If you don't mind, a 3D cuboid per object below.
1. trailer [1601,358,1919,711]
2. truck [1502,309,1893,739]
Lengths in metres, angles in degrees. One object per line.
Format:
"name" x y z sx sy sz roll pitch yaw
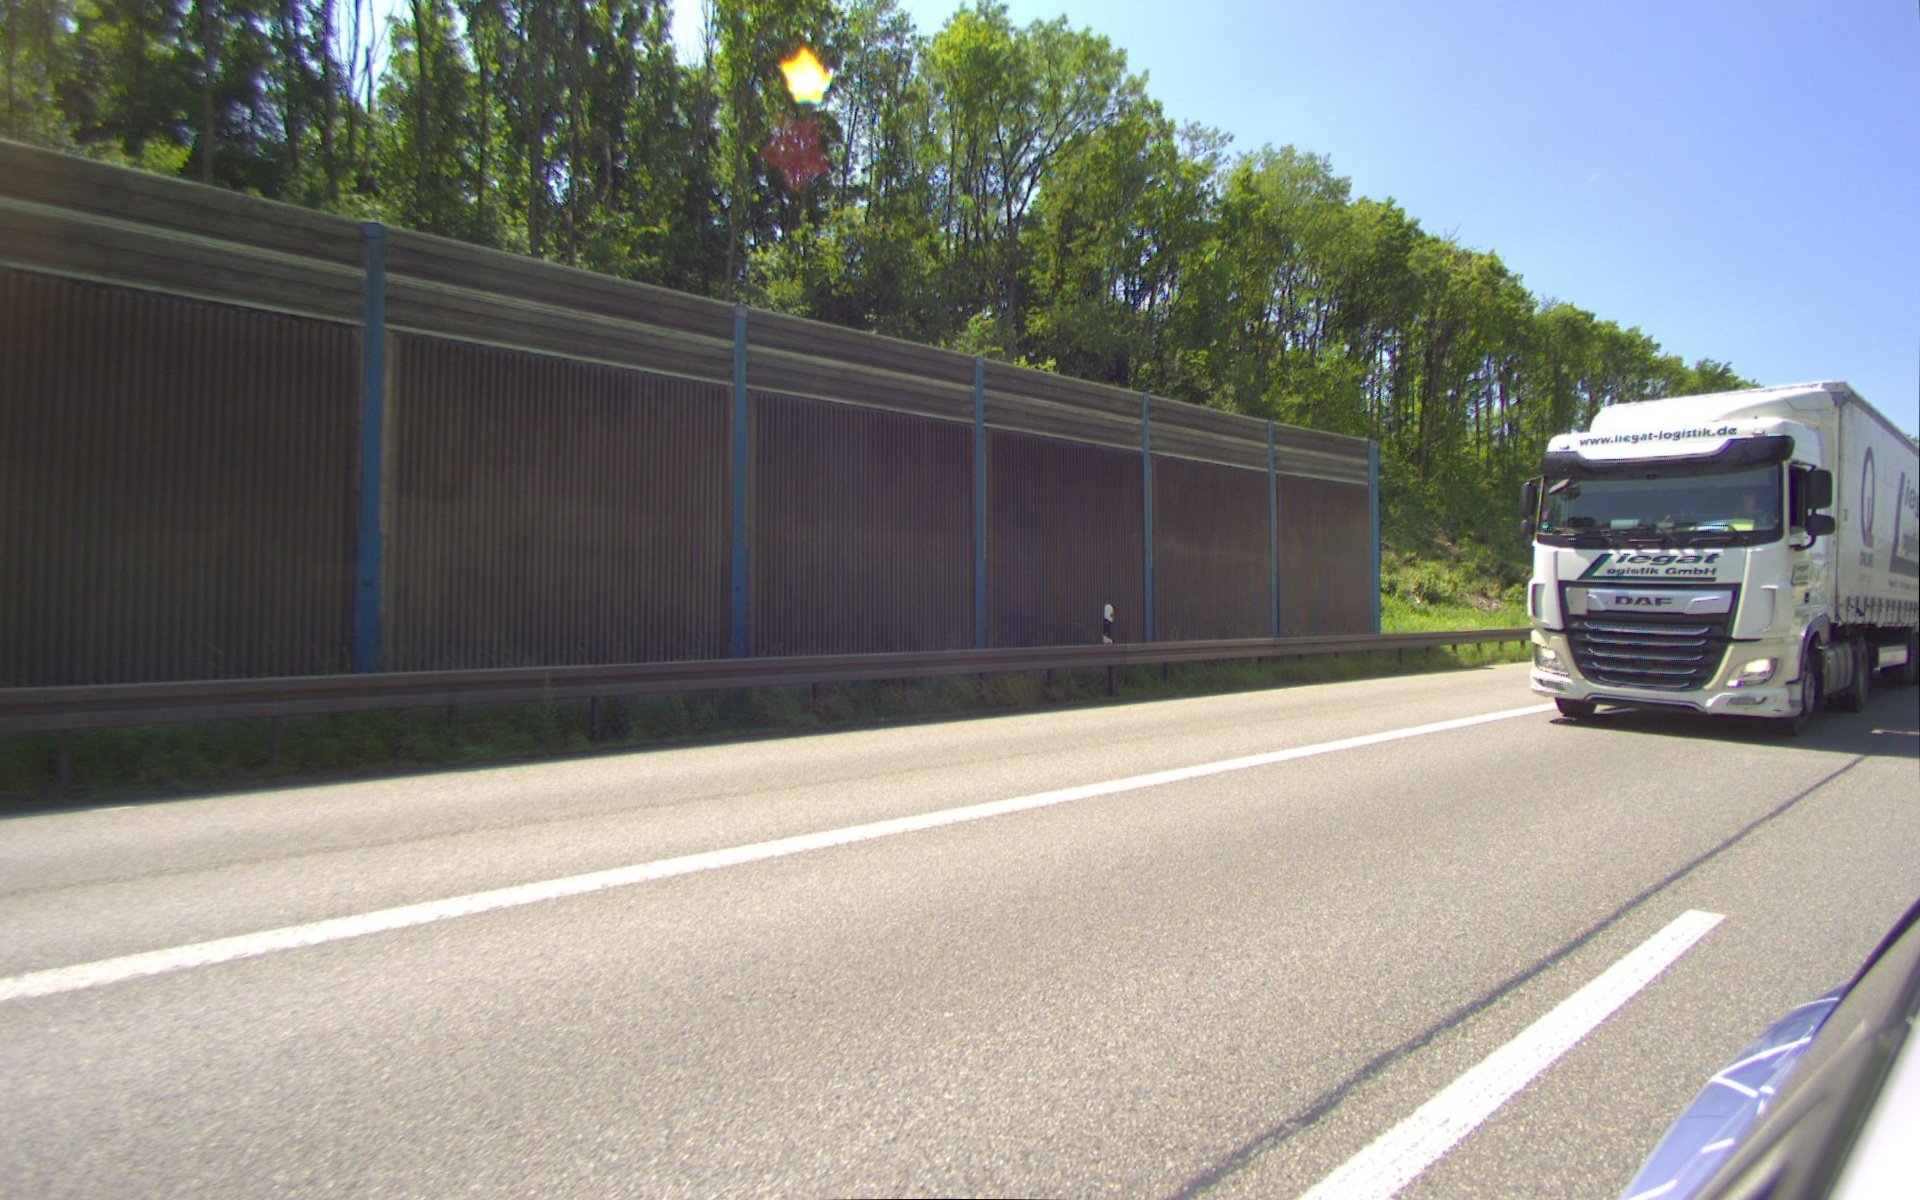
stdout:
"trailer" 14.907 -0.738 17.486 13.008 4.258 2.791 1 0 -41
"truck" 9.606 -0.743 12.968 5.765 4.258 2.791 1 0 -40
